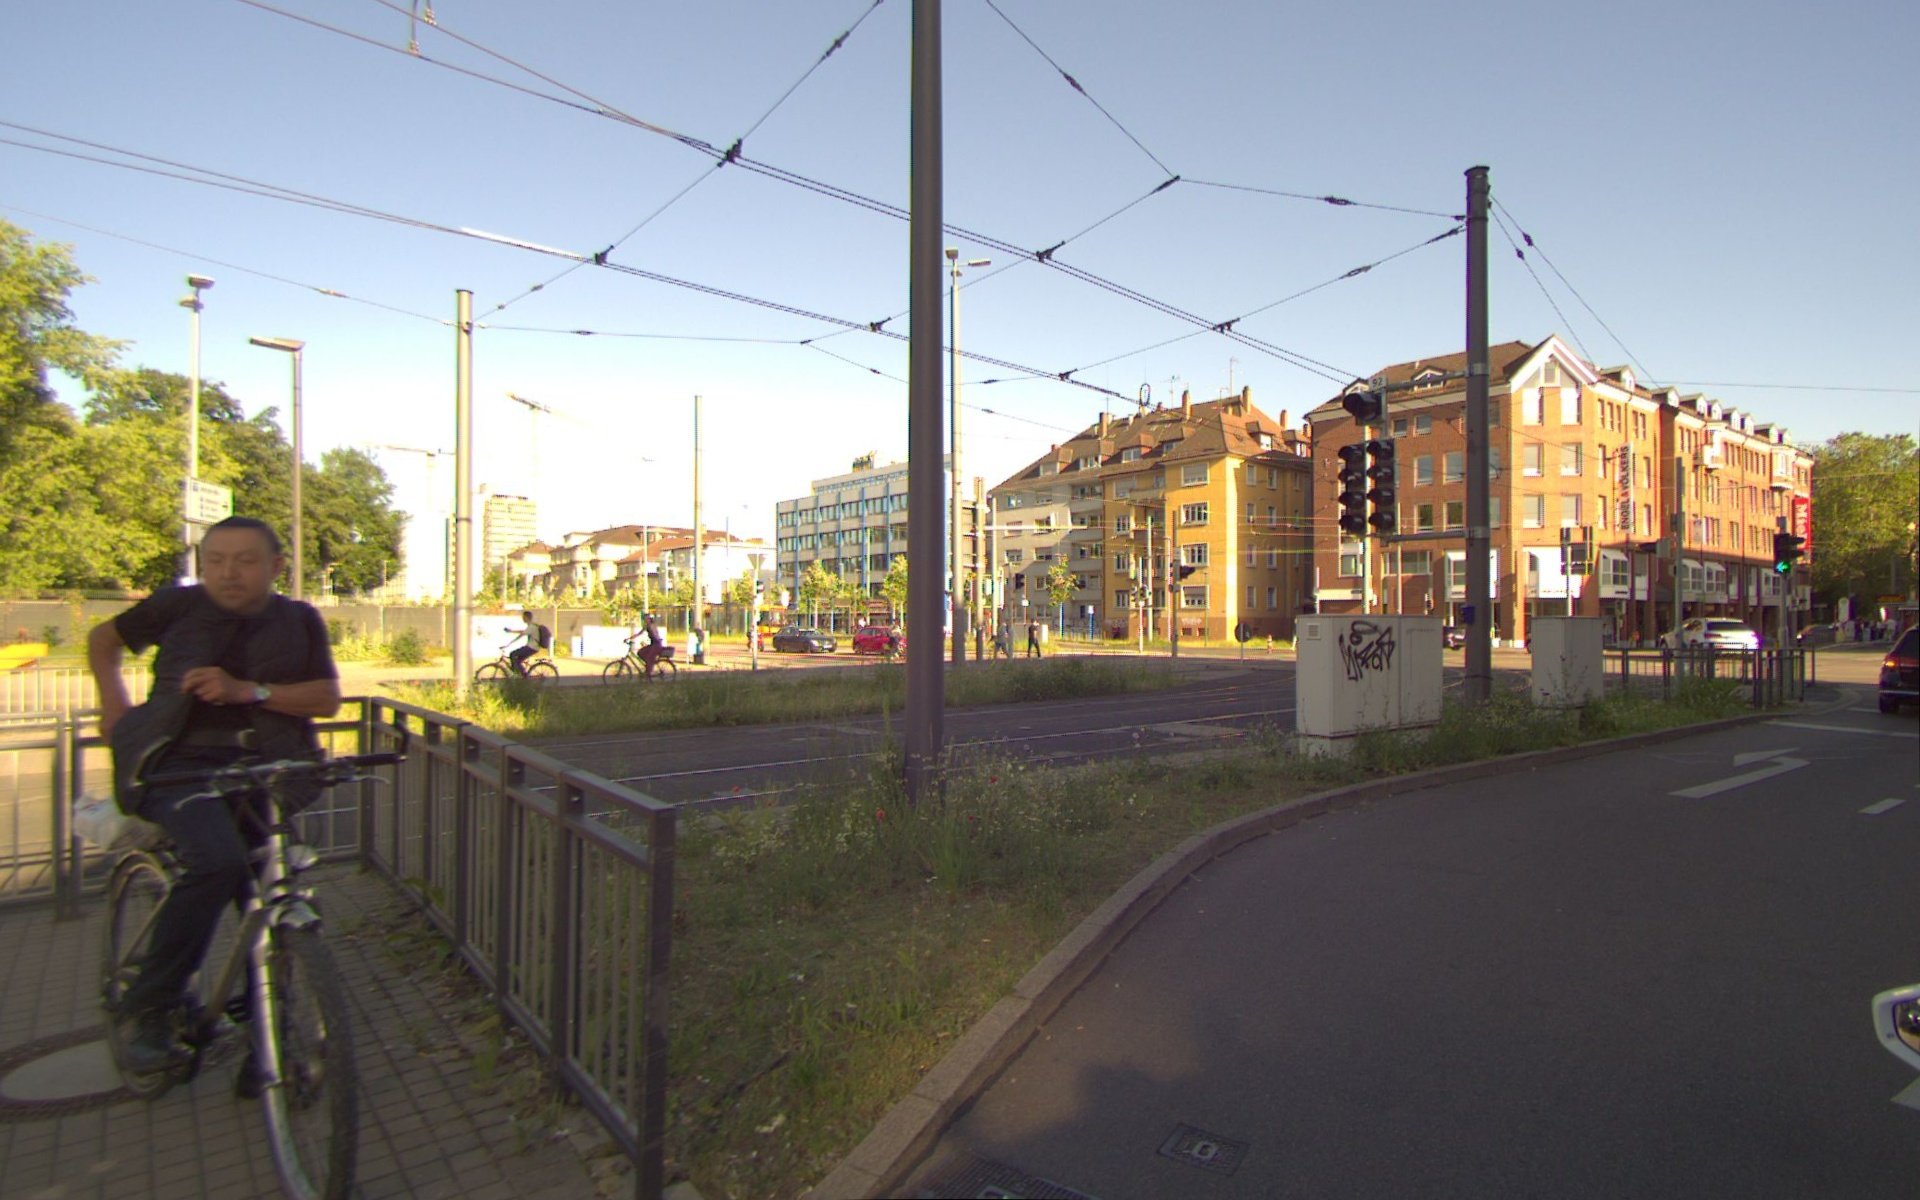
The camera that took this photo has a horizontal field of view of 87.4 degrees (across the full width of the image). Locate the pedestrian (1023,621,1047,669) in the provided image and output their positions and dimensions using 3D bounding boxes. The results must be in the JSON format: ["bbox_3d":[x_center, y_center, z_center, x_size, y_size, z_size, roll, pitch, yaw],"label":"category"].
[{"bbox_3d":[3.088,1.849,41.481,0.785,1.959,0.723,1,-1,-14],"label":"pedestrian"}]

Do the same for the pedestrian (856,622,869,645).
[{"bbox_3d":[-8.434,2.901,87.224,0.795,2.036,0.799,0,-1,40],"label":"pedestrian"}]

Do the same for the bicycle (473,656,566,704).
[{"bbox_3d":[-10.111,1.817,23.075,1.865,1.027,0.646,1,-1,-33],"label":"bicycle"}]

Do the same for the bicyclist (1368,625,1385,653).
[{"bbox_3d":[27.490,2.579,66.302,0.609,1.795,0.822,1,-1,-37],"label":"bicyclist"}]

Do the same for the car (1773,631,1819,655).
[{"bbox_3d":[58.606,3.012,70.391,3.760,1.564,1.803,2,-4,-40],"label":"car"}]

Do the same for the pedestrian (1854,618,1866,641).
[{"bbox_3d":[59.164,1.933,66.028,0.576,1.551,0.635,0,-1,38],"label":"pedestrian"}]

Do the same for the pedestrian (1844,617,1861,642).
[{"bbox_3d":[62.028,2.033,69.824,0.626,1.744,0.584,1,-1,-8],"label":"pedestrian"}]

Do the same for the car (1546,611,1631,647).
[{"bbox_3d":[30.156,1.403,48.326,1.548,1.639,3.781,1,-1,-4],"label":"car"}]

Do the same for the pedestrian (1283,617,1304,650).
[{"bbox_3d":[18.106,1.820,54.568,0.923,1.733,0.689,2,-1,-41],"label":"pedestrian"}]

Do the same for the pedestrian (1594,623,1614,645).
[{"bbox_3d":[45.771,2.403,71.368,0.848,1.589,0.885,1,-1,-13],"label":"pedestrian"}]

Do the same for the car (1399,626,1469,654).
[{"bbox_3d":[27.600,2.300,58.587,1.706,1.572,3.455,1,-1,-22],"label":"car"}]

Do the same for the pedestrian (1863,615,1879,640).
[{"bbox_3d":[64.540,1.945,71.160,0.601,1.744,0.633,1,-1,-28],"label":"pedestrian"}]

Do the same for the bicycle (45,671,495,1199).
[{"bbox_3d":[-1.947,0.852,2.707,1.801,1.228,0.638,-1,-2,44],"label":"bicycle"}]

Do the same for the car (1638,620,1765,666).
[{"bbox_3d":[27.832,1.583,37.819,1.817,1.656,3.470,1,-1,-20],"label":"car"}]

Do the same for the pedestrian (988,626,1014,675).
[{"bbox_3d":[1.469,1.817,36.150,0.618,1.711,0.701,0,1,43],"label":"pedestrian"}]

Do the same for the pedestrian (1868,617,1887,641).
[{"bbox_3d":[65.566,2.075,71.758,0.842,1.646,0.989,2,-1,-45],"label":"pedestrian"}]

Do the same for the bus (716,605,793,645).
[{"bbox_3d":[-19.297,2.296,93.767,2.928,3.611,9.318,2,-2,-40],"label":"bus"}]

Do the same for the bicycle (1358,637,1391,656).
[{"bbox_3d":[27.399,3.076,66.426,0.623,1.239,2.019,1,-1,-37],"label":"bicycle"}]

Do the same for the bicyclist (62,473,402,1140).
[{"bbox_3d":[-2.025,0.486,2.796,0.674,1.543,0.631,0,-1,43],"label":"bicyclist"}]

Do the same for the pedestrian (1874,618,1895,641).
[{"bbox_3d":[66.470,2.097,72.198,0.842,1.646,1.094,2,-1,-45],"label":"pedestrian"}]

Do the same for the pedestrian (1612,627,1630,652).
[{"bbox_3d":[43.365,2.593,65.895,0.770,1.615,0.707,1,1,-37],"label":"pedestrian"}]

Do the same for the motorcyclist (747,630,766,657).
[{"bbox_3d":[-11.985,2.538,59.149,0.776,1.544,0.912,2,-1,-41],"label":"motorcyclist"}]

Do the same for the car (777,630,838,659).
[{"bbox_3d":[-8.385,2.398,55.130,1.563,1.491,3.668,2,-2,-41],"label":"car"}]

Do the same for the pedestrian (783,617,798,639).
[{"bbox_3d":[-16.072,2.672,95.139,0.996,2.036,0.920,0,-1,40],"label":"pedestrian"}]

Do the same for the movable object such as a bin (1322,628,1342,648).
[{"bbox_3d":[27.253,2.782,73.573,1.089,1.455,0.986,2,-2,-44],"label":"movable object such as a bin"}]

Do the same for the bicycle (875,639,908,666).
[{"bbox_3d":[-3.038,2.333,44.688,1.478,1.148,0.609,0,-1,42],"label":"bicycle"}]

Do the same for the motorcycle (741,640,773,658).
[{"bbox_3d":[-11.973,2.893,59.134,0.785,0.997,2.338,2,-2,-41],"label":"motorcycle"}]

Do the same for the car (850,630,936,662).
[{"bbox_3d":[-3.356,2.287,49.698,1.771,1.529,4.506,1,-3,-44],"label":"car"}]

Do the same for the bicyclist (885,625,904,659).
[{"bbox_3d":[-2.915,1.860,44.578,0.607,1.513,0.606,0,-1,42],"label":"bicyclist"}]

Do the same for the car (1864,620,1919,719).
[{"bbox_3d":[16.161,1.070,16.176,4.491,1.463,1.750,1,0,-40],"label":"car"}]

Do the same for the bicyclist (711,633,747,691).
[{"bbox_3d":[-5.962,1.587,25.926,0.722,1.473,0.660,1,-1,-31],"label":"bicyclist"}]

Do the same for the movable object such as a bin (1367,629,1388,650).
[{"bbox_3d":[29.484,2.761,70.947,1.089,1.455,0.986,2,-2,-44],"label":"movable object such as a bin"}]

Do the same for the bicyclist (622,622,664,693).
[{"bbox_3d":[-7.566,1.362,23.988,0.799,1.671,0.584,1,-1,-36],"label":"bicyclist"}]

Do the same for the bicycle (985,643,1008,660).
[{"bbox_3d":[1.762,2.480,48.687,1.158,0.774,0.319,0,-1,40],"label":"bicycle"}]

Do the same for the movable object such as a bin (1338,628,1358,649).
[{"bbox_3d":[28.088,2.769,72.746,1.089,1.455,0.986,2,-2,-44],"label":"movable object such as a bin"}]

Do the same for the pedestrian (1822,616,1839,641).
[{"bbox_3d":[56.708,1.850,65.409,0.577,1.584,0.634,1,-1,-21],"label":"pedestrian"}]

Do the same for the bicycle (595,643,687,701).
[{"bbox_3d":[-7.599,1.696,23.967,2.008,1.308,0.569,2,-1,-37],"label":"bicycle"}]

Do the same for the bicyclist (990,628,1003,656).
[{"bbox_3d":[1.769,2.040,48.677,0.453,1.333,0.398,0,-1,40],"label":"bicyclist"}]
